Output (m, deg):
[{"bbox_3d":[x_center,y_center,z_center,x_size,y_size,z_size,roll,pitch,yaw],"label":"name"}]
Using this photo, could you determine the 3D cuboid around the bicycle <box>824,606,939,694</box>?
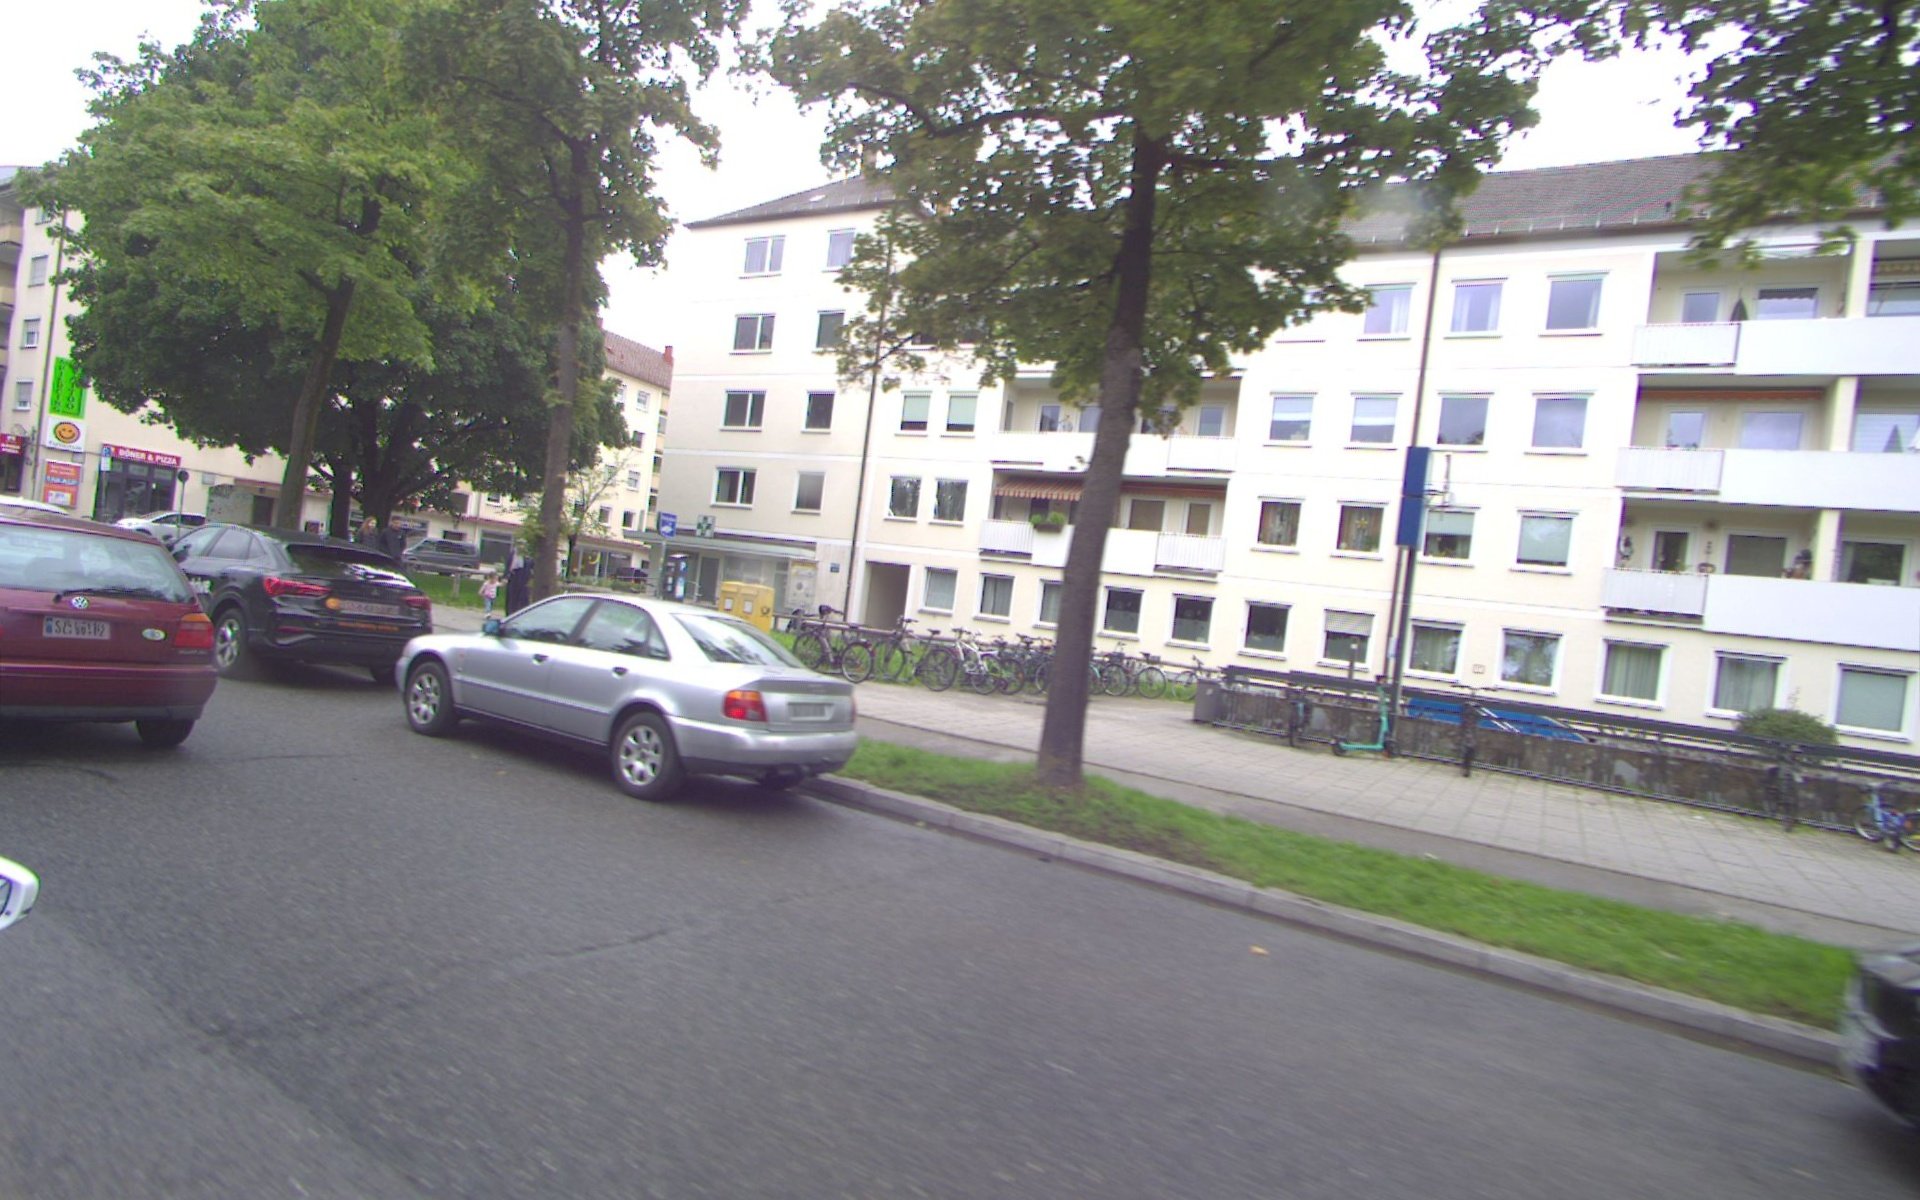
[{"bbox_3d":[-1.298,0.796,16.326,1.852,1.148,0.431,8,2,32],"label":"bicycle"}]

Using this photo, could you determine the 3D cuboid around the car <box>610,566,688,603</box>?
[{"bbox_3d":[-19.954,-0.979,64.671,1.839,1.679,4.750,8,-2,27],"label":"car"}]

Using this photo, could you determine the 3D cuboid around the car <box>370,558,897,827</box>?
[{"bbox_3d":[-2.797,0.653,8.401,4.171,1.402,1.640,8,-2,29],"label":"car"}]

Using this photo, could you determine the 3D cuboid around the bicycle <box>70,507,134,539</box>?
[{"bbox_3d":[-35.001,-3.132,41.058,0.548,0.968,1.852,7,-2,30],"label":"bicycle"}]

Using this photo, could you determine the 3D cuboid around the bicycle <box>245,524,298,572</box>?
[{"bbox_3d":[-18.660,-1.423,27.234,1.823,1.118,0.389,7,-1,32],"label":"bicycle"}]

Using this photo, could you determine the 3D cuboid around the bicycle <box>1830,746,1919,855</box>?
[{"bbox_3d":[11.078,2.366,12.032,0.425,1.041,1.882,7,0,25],"label":"bicycle"}]

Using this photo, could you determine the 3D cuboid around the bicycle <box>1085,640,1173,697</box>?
[{"bbox_3d":[3.849,1.551,22.956,1.852,1.041,0.431,8,1,32],"label":"bicycle"}]

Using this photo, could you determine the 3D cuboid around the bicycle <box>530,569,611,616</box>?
[{"bbox_3d":[-9.901,-0.180,25.661,0.549,0.950,1.880,7,-2,33],"label":"bicycle"}]

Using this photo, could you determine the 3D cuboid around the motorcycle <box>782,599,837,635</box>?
[{"bbox_3d":[-5.373,0.605,35.799,1.875,1.035,0.605,7,-1,32],"label":"motorcycle"}]

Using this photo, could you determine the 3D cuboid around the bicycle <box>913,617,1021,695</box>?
[{"bbox_3d":[0.105,0.977,17.875,1.852,1.115,0.431,8,1,32],"label":"bicycle"}]

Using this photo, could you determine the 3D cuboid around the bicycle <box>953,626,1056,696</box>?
[{"bbox_3d":[0.825,1.135,18.929,1.852,1.041,0.431,8,1,32],"label":"bicycle"}]

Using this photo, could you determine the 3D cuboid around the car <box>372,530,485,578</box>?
[{"bbox_3d":[-27.047,-2.299,51.359,1.840,1.795,4.742,7,0,30],"label":"car"}]

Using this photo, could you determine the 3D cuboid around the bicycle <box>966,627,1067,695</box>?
[{"bbox_3d":[1.068,1.168,19.345,1.852,1.041,0.431,8,1,32],"label":"bicycle"}]

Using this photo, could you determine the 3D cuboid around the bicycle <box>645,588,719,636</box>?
[{"bbox_3d":[-6.859,0.319,24.922,0.425,0.985,1.880,7,-2,33],"label":"bicycle"}]

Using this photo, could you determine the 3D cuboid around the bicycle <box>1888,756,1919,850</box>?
[{"bbox_3d":[11.422,2.423,11.546,0.425,1.041,1.882,7,0,23],"label":"bicycle"}]

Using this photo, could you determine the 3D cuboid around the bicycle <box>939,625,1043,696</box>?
[{"bbox_3d":[0.552,1.101,18.452,1.852,1.041,0.431,8,1,32],"label":"bicycle"}]

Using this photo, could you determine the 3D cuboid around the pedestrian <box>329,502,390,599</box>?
[{"bbox_3d":[-12.664,-1.038,21.226,0.887,1.913,0.588,7,1,30],"label":"pedestrian"}]

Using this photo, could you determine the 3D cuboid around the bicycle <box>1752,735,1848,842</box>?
[{"bbox_3d":[10.315,2.277,12.404,0.425,1.041,1.881,7,0,28],"label":"bicycle"}]

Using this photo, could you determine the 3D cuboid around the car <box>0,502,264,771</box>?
[{"bbox_3d":[-6.504,0.042,6.587,3.854,1.399,1.685,7,-2,32],"label":"car"}]

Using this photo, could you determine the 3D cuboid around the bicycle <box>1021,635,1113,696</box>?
[{"bbox_3d":[2.275,1.381,21.493,1.852,1.041,0.431,8,1,32],"label":"bicycle"}]

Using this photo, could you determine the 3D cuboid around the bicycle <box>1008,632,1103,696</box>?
[{"bbox_3d":[1.958,1.315,20.846,1.852,1.041,0.431,8,1,32],"label":"bicycle"}]

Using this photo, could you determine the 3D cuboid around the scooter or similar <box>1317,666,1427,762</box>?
[{"bbox_3d":[5.942,1.650,14.519,1.367,1.216,0.358,7,1,-11],"label":"scooter or similar"}]

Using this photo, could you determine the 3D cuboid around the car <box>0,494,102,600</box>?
[{"bbox_3d":[-16.276,-1.056,16.740,4.067,1.481,1.687,7,-3,31],"label":"car"}]

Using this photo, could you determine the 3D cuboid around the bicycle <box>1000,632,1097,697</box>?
[{"bbox_3d":[1.774,1.297,20.379,1.852,1.041,0.431,8,1,32],"label":"bicycle"}]

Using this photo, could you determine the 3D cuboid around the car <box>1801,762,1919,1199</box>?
[{"bbox_3d":[5.431,1.645,3.018,4.107,1.482,1.754,7,-2,33],"label":"car"}]

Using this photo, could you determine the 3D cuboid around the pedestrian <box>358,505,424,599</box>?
[{"bbox_3d":[-12.340,-1.034,21.827,0.904,1.913,0.730,7,1,30],"label":"pedestrian"}]

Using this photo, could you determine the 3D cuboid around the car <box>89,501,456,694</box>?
[{"bbox_3d":[-7.804,-0.064,11.322,4.204,1.550,1.720,7,-2,32],"label":"car"}]

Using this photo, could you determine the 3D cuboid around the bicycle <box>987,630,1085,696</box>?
[{"bbox_3d":[1.490,1.245,19.984,1.852,1.041,0.431,8,1,32],"label":"bicycle"}]

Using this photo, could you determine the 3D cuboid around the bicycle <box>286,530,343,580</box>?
[{"bbox_3d":[-16.736,-1.172,26.057,1.852,1.116,0.382,7,-1,32],"label":"bicycle"}]

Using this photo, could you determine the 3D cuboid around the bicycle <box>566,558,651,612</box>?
[{"bbox_3d":[-8.040,-0.329,23.065,0.425,0.985,1.880,7,-2,33],"label":"bicycle"}]

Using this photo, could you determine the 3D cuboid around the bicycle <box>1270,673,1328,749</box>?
[{"bbox_3d":[5.222,1.665,15.432,0.425,1.041,1.881,7,0,28],"label":"bicycle"}]

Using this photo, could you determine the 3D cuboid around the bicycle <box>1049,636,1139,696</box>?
[{"bbox_3d":[2.934,1.443,22.173,1.852,1.041,0.431,8,1,32],"label":"bicycle"}]

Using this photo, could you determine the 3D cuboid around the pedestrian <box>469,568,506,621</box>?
[{"bbox_3d":[-9.280,-0.108,19.760,0.428,0.961,0.408,7,1,30],"label":"pedestrian"}]

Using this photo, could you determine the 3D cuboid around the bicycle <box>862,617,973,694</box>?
[{"bbox_3d":[-0.735,0.920,16.959,1.852,1.041,0.431,8,1,32],"label":"bicycle"}]

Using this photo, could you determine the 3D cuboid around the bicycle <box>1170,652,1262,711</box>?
[{"bbox_3d":[5.707,1.809,22.495,1.852,1.041,0.431,8,1,32],"label":"bicycle"}]

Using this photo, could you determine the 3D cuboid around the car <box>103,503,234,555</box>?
[{"bbox_3d":[-30.878,-2.759,39.333,1.841,1.434,3.551,8,0,34],"label":"car"}]

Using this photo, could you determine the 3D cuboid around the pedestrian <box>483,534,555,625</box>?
[{"bbox_3d":[-8.896,-0.400,20.299,0.821,1.702,0.839,7,1,30],"label":"pedestrian"}]

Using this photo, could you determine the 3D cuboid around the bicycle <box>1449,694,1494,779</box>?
[{"bbox_3d":[7.286,1.899,14.299,0.425,1.041,1.881,7,0,28],"label":"bicycle"}]
